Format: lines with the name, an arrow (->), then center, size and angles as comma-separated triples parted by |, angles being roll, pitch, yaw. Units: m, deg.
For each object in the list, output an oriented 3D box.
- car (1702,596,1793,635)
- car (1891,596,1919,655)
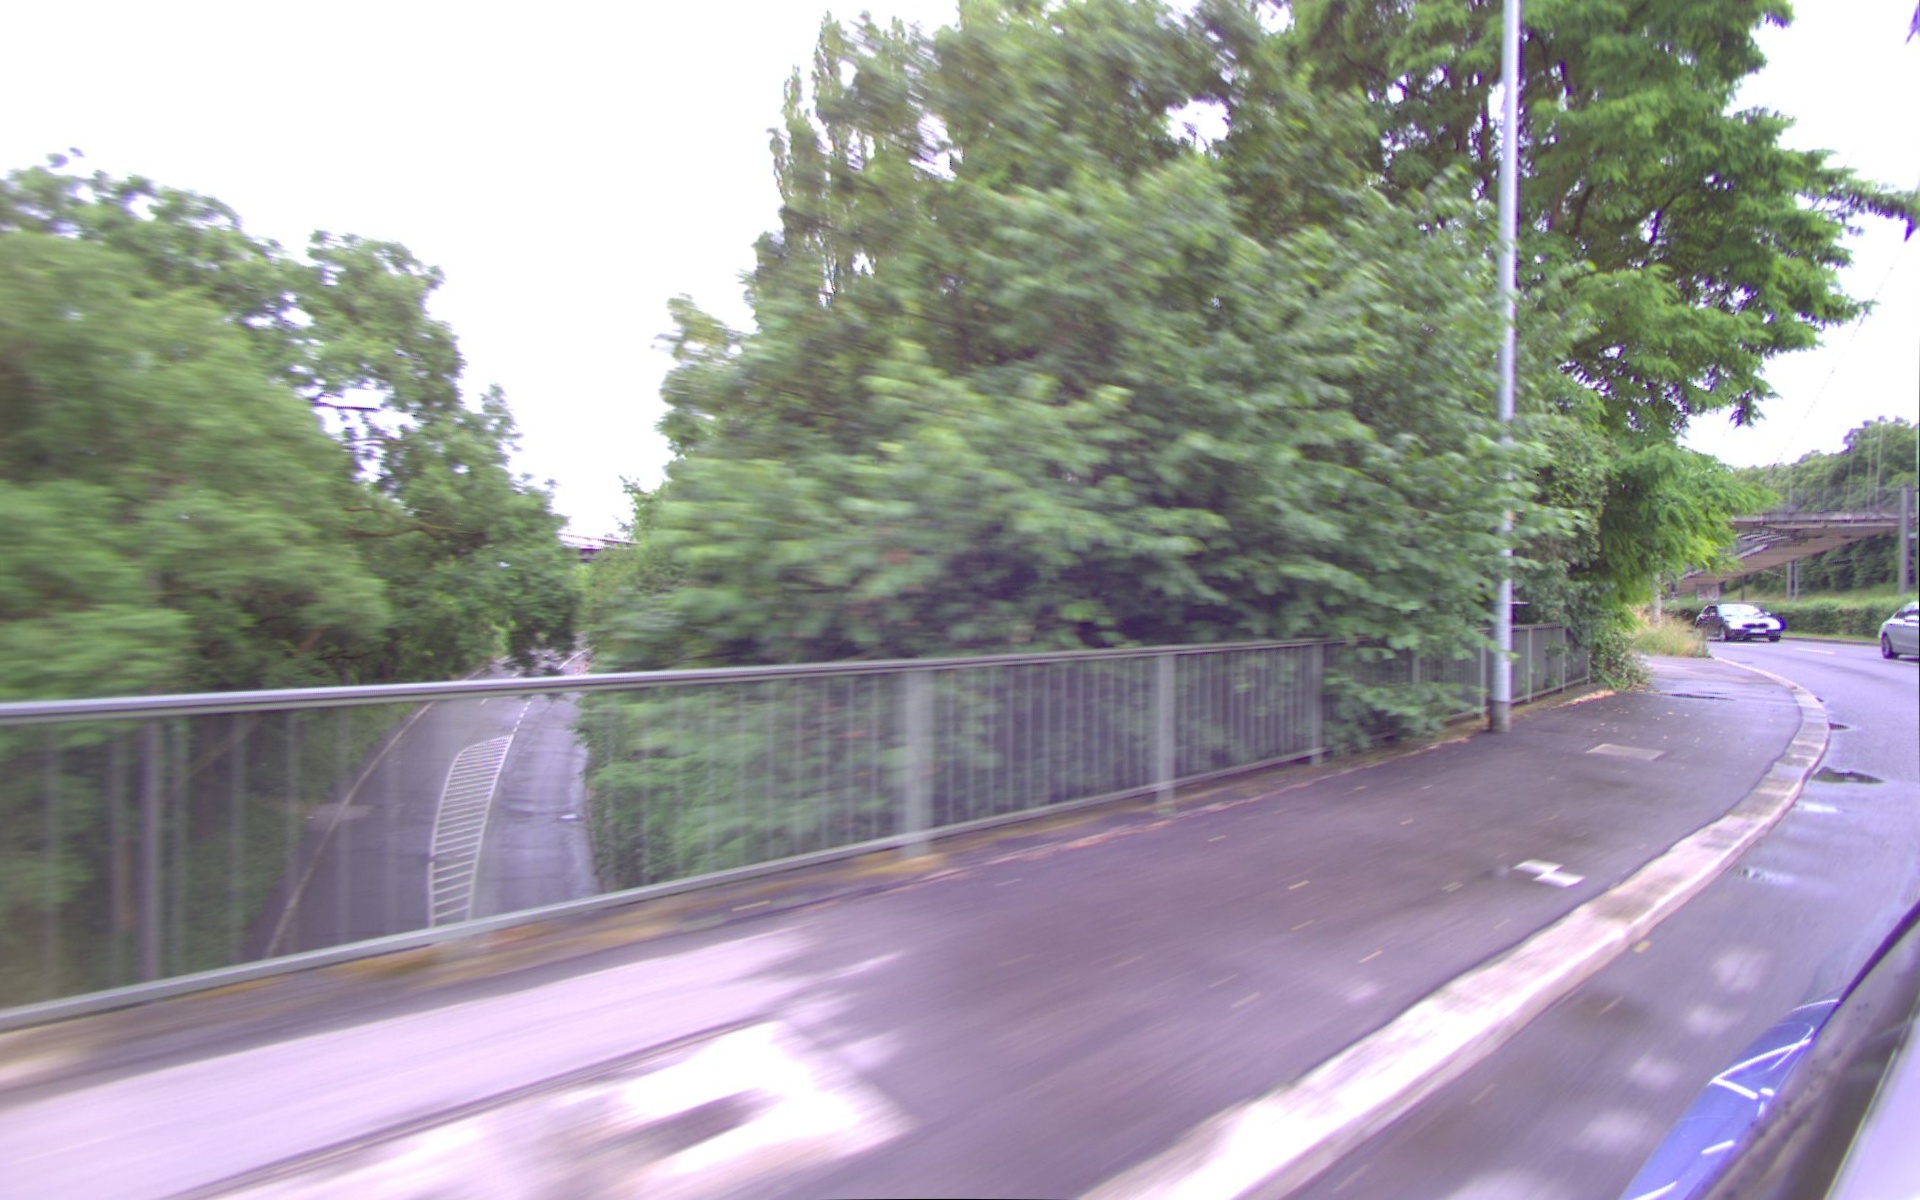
car -> 29.973, 0.551, 38.657 | 1.717, 1.369, 3.970 | 0, 1, 22
car -> 23.340, 0.574, 23.313 | 1.857, 1.373, 4.017 | -2, -1, 30
